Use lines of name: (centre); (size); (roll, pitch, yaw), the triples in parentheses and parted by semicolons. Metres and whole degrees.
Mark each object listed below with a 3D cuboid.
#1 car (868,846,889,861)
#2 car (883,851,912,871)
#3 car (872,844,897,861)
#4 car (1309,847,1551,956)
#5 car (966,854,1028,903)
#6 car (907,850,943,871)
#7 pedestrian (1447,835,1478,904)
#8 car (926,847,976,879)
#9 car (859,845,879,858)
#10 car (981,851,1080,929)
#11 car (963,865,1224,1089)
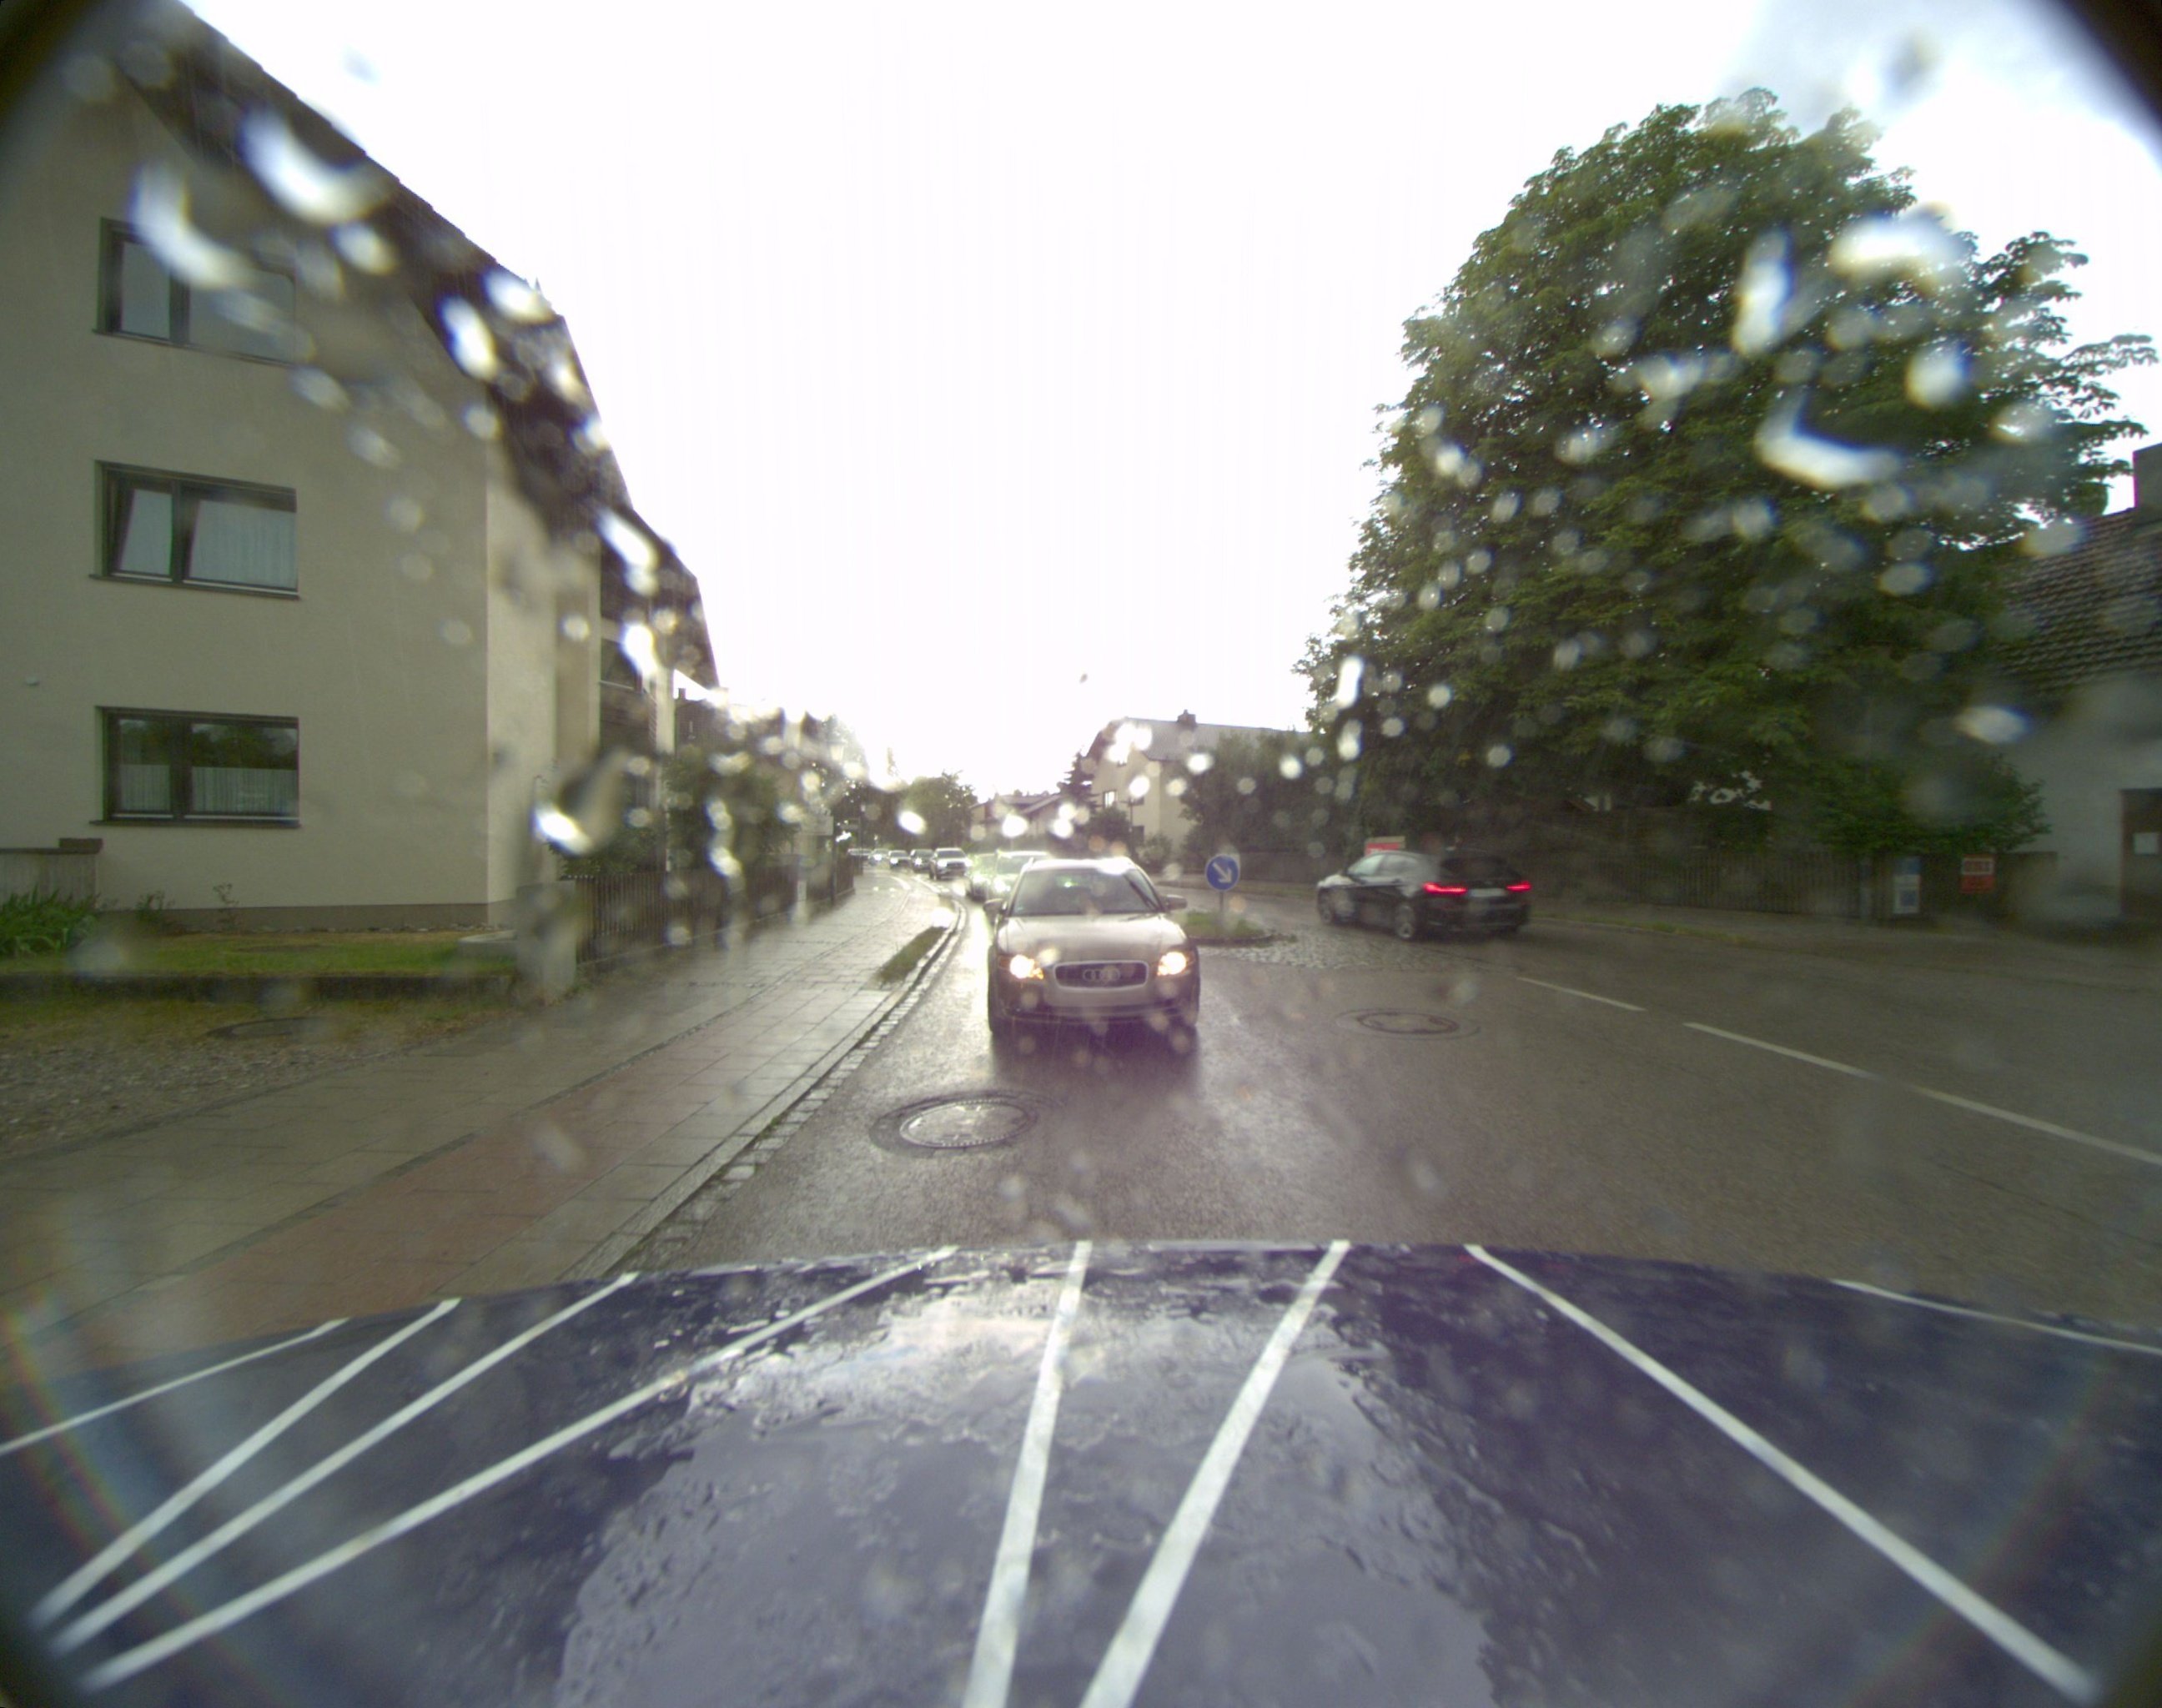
car: (-22.440, -0.047, 84.065); (1.797, 1.539, 4.273); (-3, 1, -20)
car: (-15.204, 0.543, 62.957); (1.797, 1.539, 4.273); (-3, 1, -20)
car: (-19.295, -0.159, 74.424); (1.797, 1.539, 4.273); (-3, 1, -21)
car: (5.535, 0.656, 12.698); (1.817, 1.482, 4.056); (-1, 0, -7)
car: (-2.854, 0.731, 25.048); (1.795, 1.387, 4.277); (-2, 1, -9)
car: (-11.033, 0.423, 53.512); (1.797, 1.365, 4.273); (-3, 1, -20)
pedestrian: (9.191, 0.370, 18.299); (0.652, 1.619, 0.480); (0, 1, 29)
car: (-6.957, 0.440, 40.423); (1.797, 1.539, 4.273); (-3, 1, -20)
car: (-26.307, -0.254, 94.126); (1.797, 1.539, 4.272); (-3, 1, -24)
car: (-1.351, 0.707, 17.938); (1.795, 1.470, 5.380); (-2, 1, -9)
car: (0.005, 0.897, 7.496); (1.794, 1.387, 4.279); (-2, 1, -2)
